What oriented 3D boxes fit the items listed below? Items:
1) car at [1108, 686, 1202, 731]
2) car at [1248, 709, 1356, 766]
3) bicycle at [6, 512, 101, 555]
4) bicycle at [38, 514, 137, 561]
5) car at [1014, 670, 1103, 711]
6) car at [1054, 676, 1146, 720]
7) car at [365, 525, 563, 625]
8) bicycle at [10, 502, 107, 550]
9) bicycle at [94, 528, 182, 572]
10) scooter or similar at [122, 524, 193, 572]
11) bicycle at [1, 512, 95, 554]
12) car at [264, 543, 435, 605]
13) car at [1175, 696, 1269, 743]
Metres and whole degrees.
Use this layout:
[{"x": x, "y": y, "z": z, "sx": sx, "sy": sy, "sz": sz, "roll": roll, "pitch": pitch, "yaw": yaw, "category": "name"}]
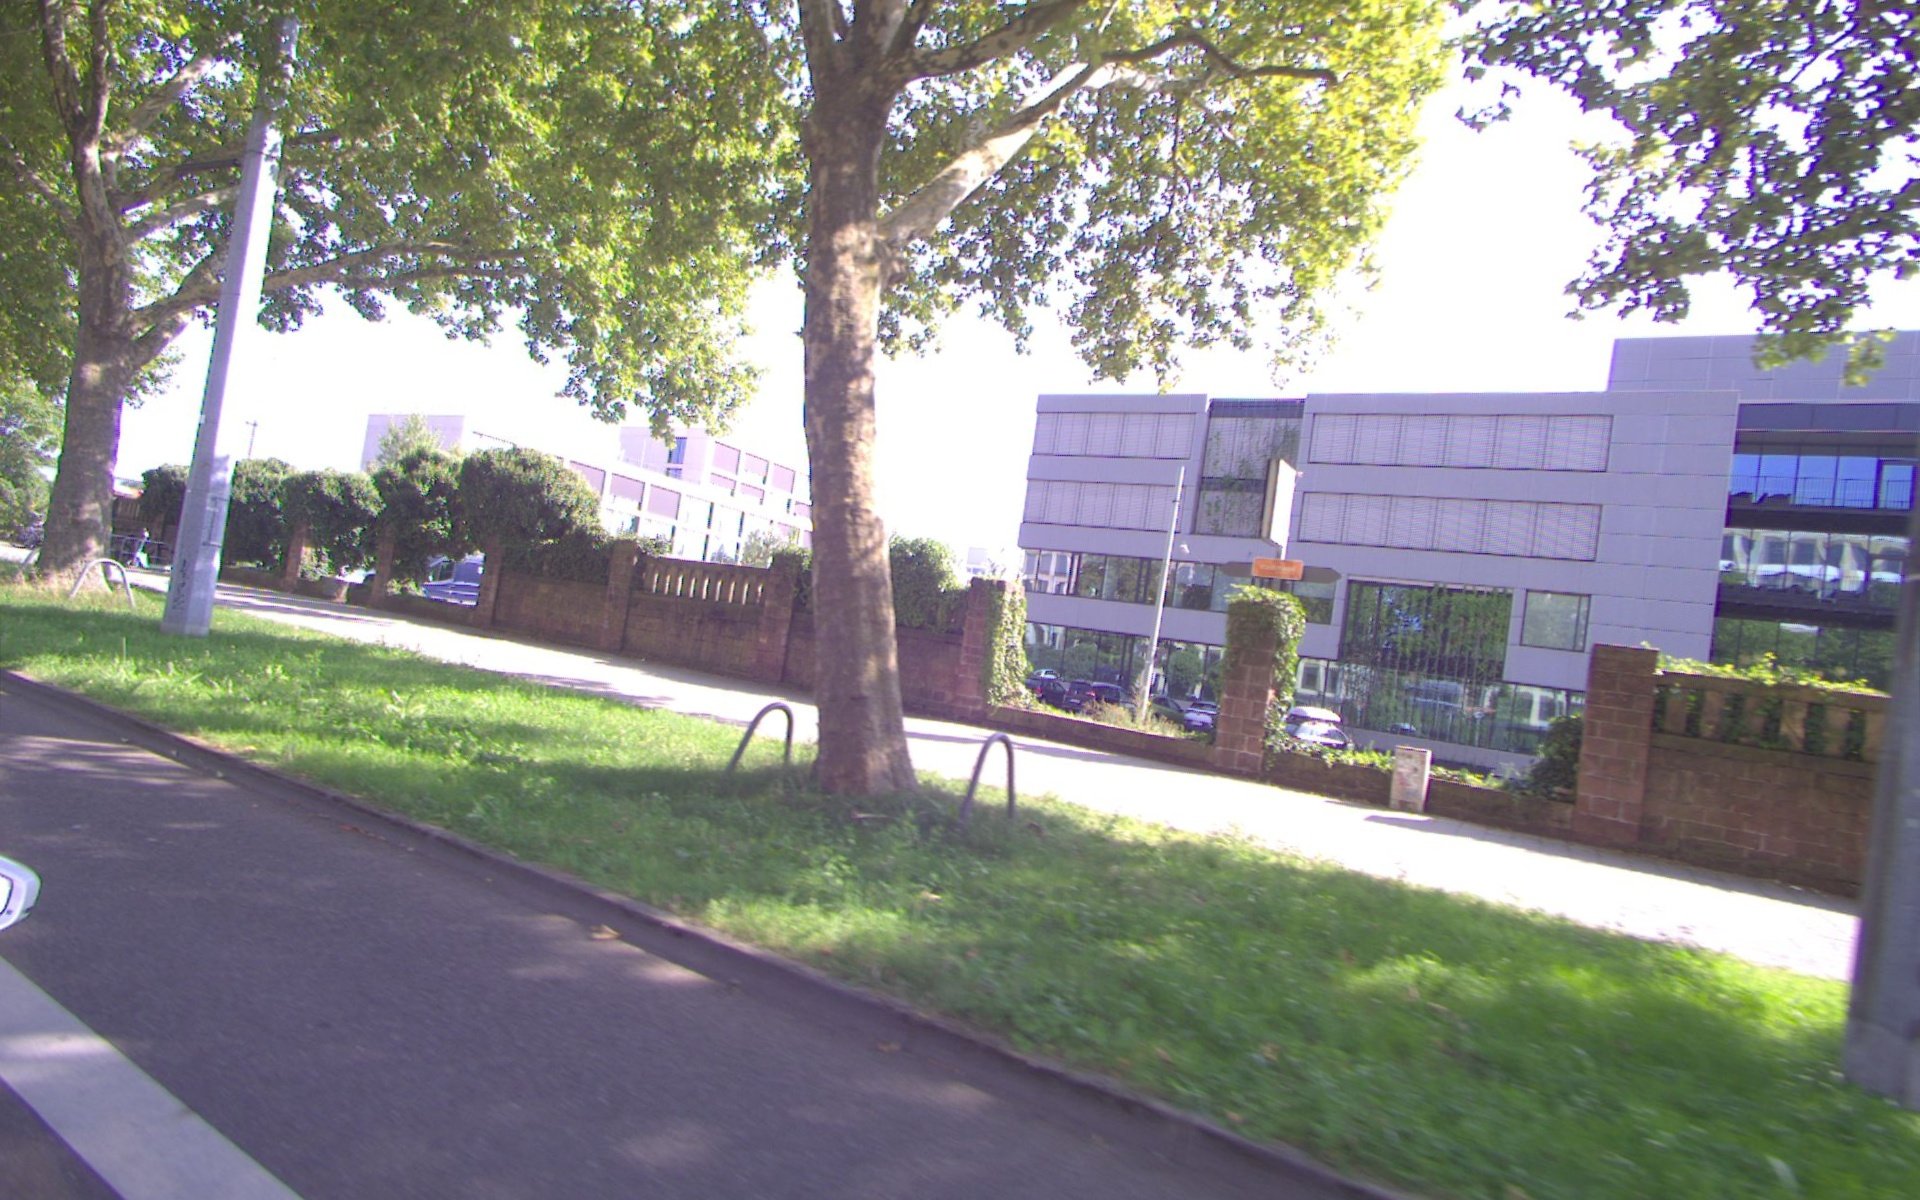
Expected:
[{"x": 8.267, "y": 4.582, "z": 42.519, "sx": 3.950, "sy": 1.474, "sz": 1.794, "roll": 9, "pitch": -2, "yaw": -43, "category": "car"}, {"x": 12.115, "y": 4.884, "z": 35.543, "sx": 3.948, "sy": 1.628, "sz": 1.801, "roll": 9, "pitch": -2, "yaw": -42, "category": "car"}, {"x": -30.016, "y": -2.176, "z": 33.352, "sx": 0.731, "sy": 1.089, "sz": 2.175, "roll": 7, "pitch": -1, "yaw": 34, "category": "bicycle"}, {"x": -28.049, "y": -1.987, "z": 32.383, "sx": 0.730, "sy": 1.088, "sz": 2.180, "roll": 7, "pitch": -3, "yaw": 29, "category": "bicycle"}, {"x": 4.566, "y": 4.189, "z": 46.424, "sx": 3.949, "sy": 1.474, "sz": 1.794, "roll": 9, "pitch": -2, "yaw": -42, "category": "car"}, {"x": 6.209, "y": 4.330, "z": 44.290, "sx": 3.949, "sy": 1.474, "sz": 1.794, "roll": 9, "pitch": -2, "yaw": -42, "category": "car"}, {"x": -16.541, "y": -0.765, "z": 33.877, "sx": 2.214, "sy": 2.461, "sz": 5.387, "roll": 7, "pitch": -3, "yaw": 32, "category": "car"}, {"x": -31.510, "y": -2.565, "z": 35.195, "sx": 0.982, "sy": 1.292, "sz": 2.248, "roll": 6, "pitch": -1, "yaw": 30, "category": "bicycle"}, {"x": -25.319, "y": -1.537, "z": 31.037, "sx": 0.722, "sy": 1.017, "sz": 1.872, "roll": 7, "pitch": -3, "yaw": 29, "category": "bicycle"}, {"x": -24.286, "y": -1.570, "z": 30.465, "sx": 0.530, "sy": 1.205, "sz": 1.507, "roll": 7, "pitch": -1, "yaw": 35, "category": "scooter or similar"}, {"x": -30.646, "y": -2.232, "z": 33.843, "sx": 0.731, "sy": 1.089, "sz": 2.175, "roll": 7, "pitch": -1, "yaw": 34, "category": "bicycle"}, {"x": -22.112, "y": -0.886, "z": 36.709, "sx": 2.146, "sy": 1.495, "sz": 4.914, "roll": 7, "pitch": -2, "yaw": 22, "category": "car"}, {"x": 10.835, "y": 4.955, "z": 41.494, "sx": 3.950, "sy": 1.522, "sz": 1.801, "roll": 9, "pitch": -2, "yaw": -43, "category": "car"}]
